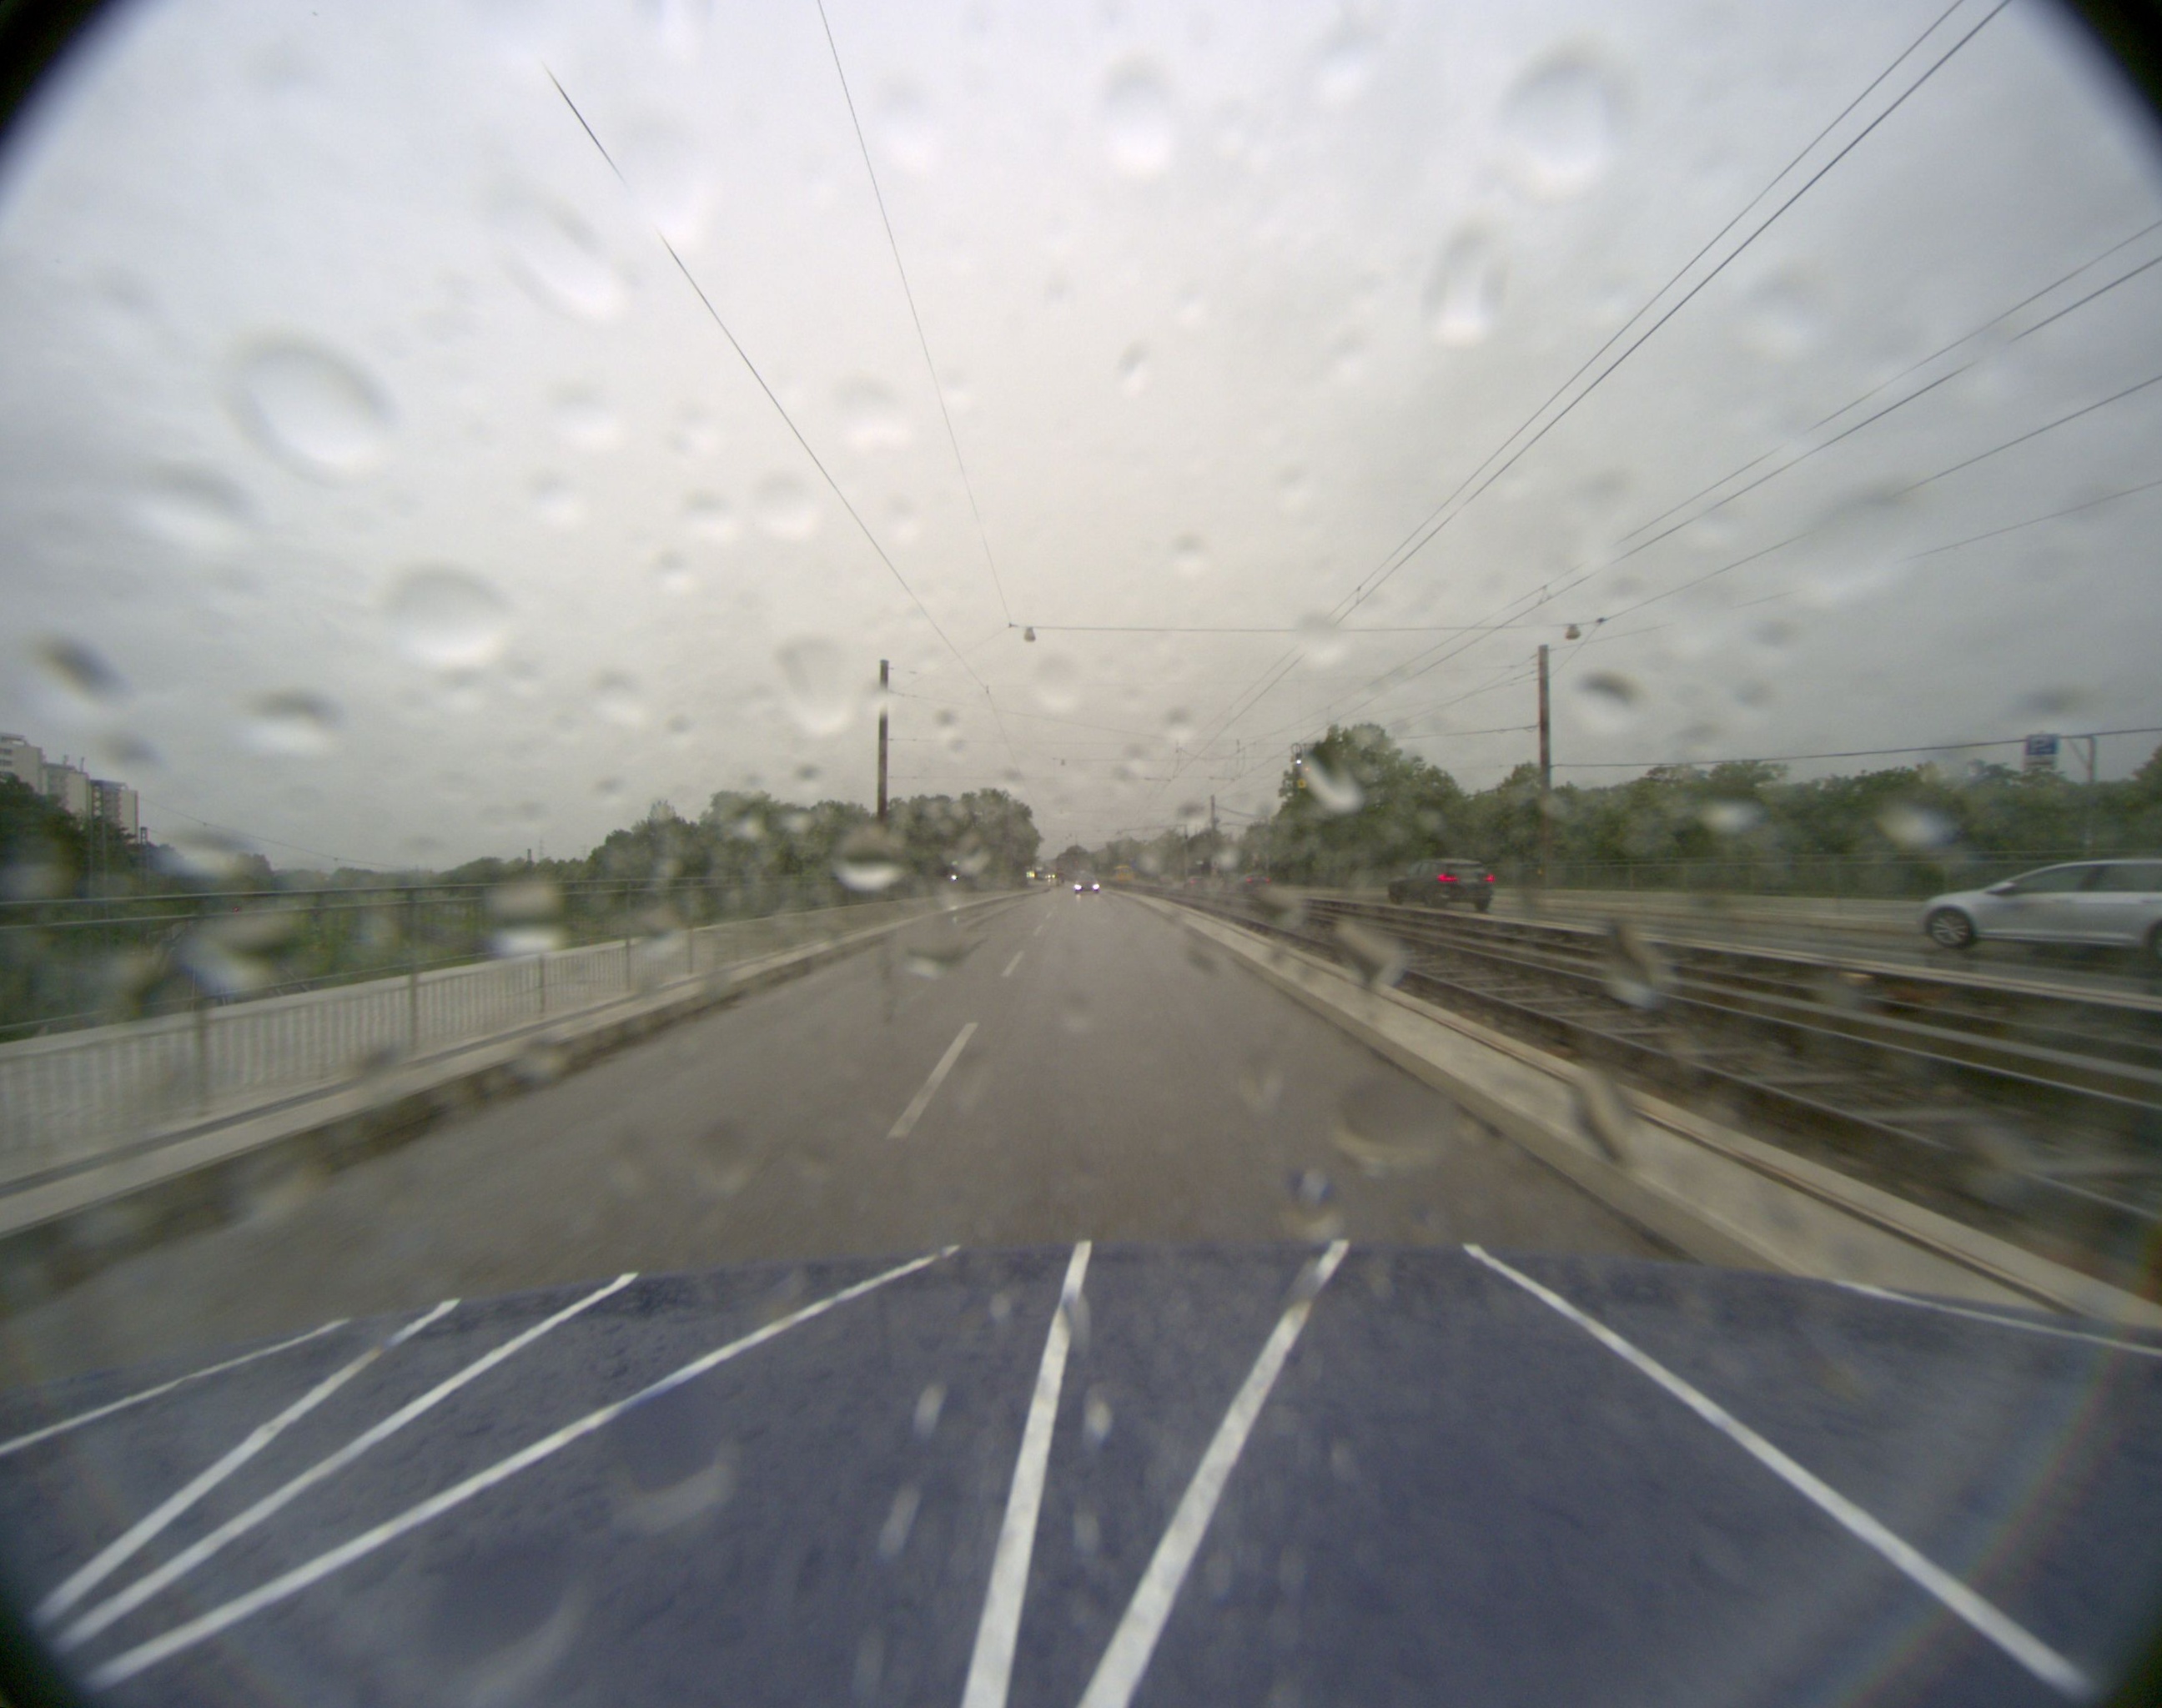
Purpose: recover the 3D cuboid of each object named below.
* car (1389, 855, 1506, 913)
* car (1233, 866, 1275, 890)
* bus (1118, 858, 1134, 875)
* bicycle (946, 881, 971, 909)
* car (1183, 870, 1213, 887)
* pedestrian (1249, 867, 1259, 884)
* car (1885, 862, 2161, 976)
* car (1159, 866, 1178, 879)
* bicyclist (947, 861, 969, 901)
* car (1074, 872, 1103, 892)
[{"bbox_3d":[11.761,0.891,24.695,1.822,1.645,4.000,-3,0,1],"label":"car"},{"bbox_3d":[11.994,1.654,52.961,1.999,1.500,4.091,1,0,-1],"label":"car"},{"bbox_3d":[9.605,2.813,162.286,2.715,3.320,10.997,1,-2,0],"label":"bus"},{"bbox_3d":[-5.507,1.826,34.224,0.725,1.122,2.168,-3,-1,0],"label":"bicycle"},{"bbox_3d":[11.583,2.389,75.331,1.999,1.500,5.112,1,0,-2],"label":"car"},{"bbox_3d":[19.892,2.478,87.360,0.867,1.808,1.043,-3,0,-2],"label":"pedestrian"},{"bbox_3d":[15.024,0.877,10.916,1.999,1.447,4.620,1,0,-1],"label":"car"},{"bbox_3d":[11.839,2.510,103.526,1.998,1.707,4.941,1,0,0],"label":"car"},{"bbox_3d":[-5.534,1.189,34.172,0.727,1.753,0.949,-3,0,0],"label":"bicyclist"},{"bbox_3d":[0.569,2.239,61.598,1.999,1.497,4.196,-3,-1,-4],"label":"car"}]
